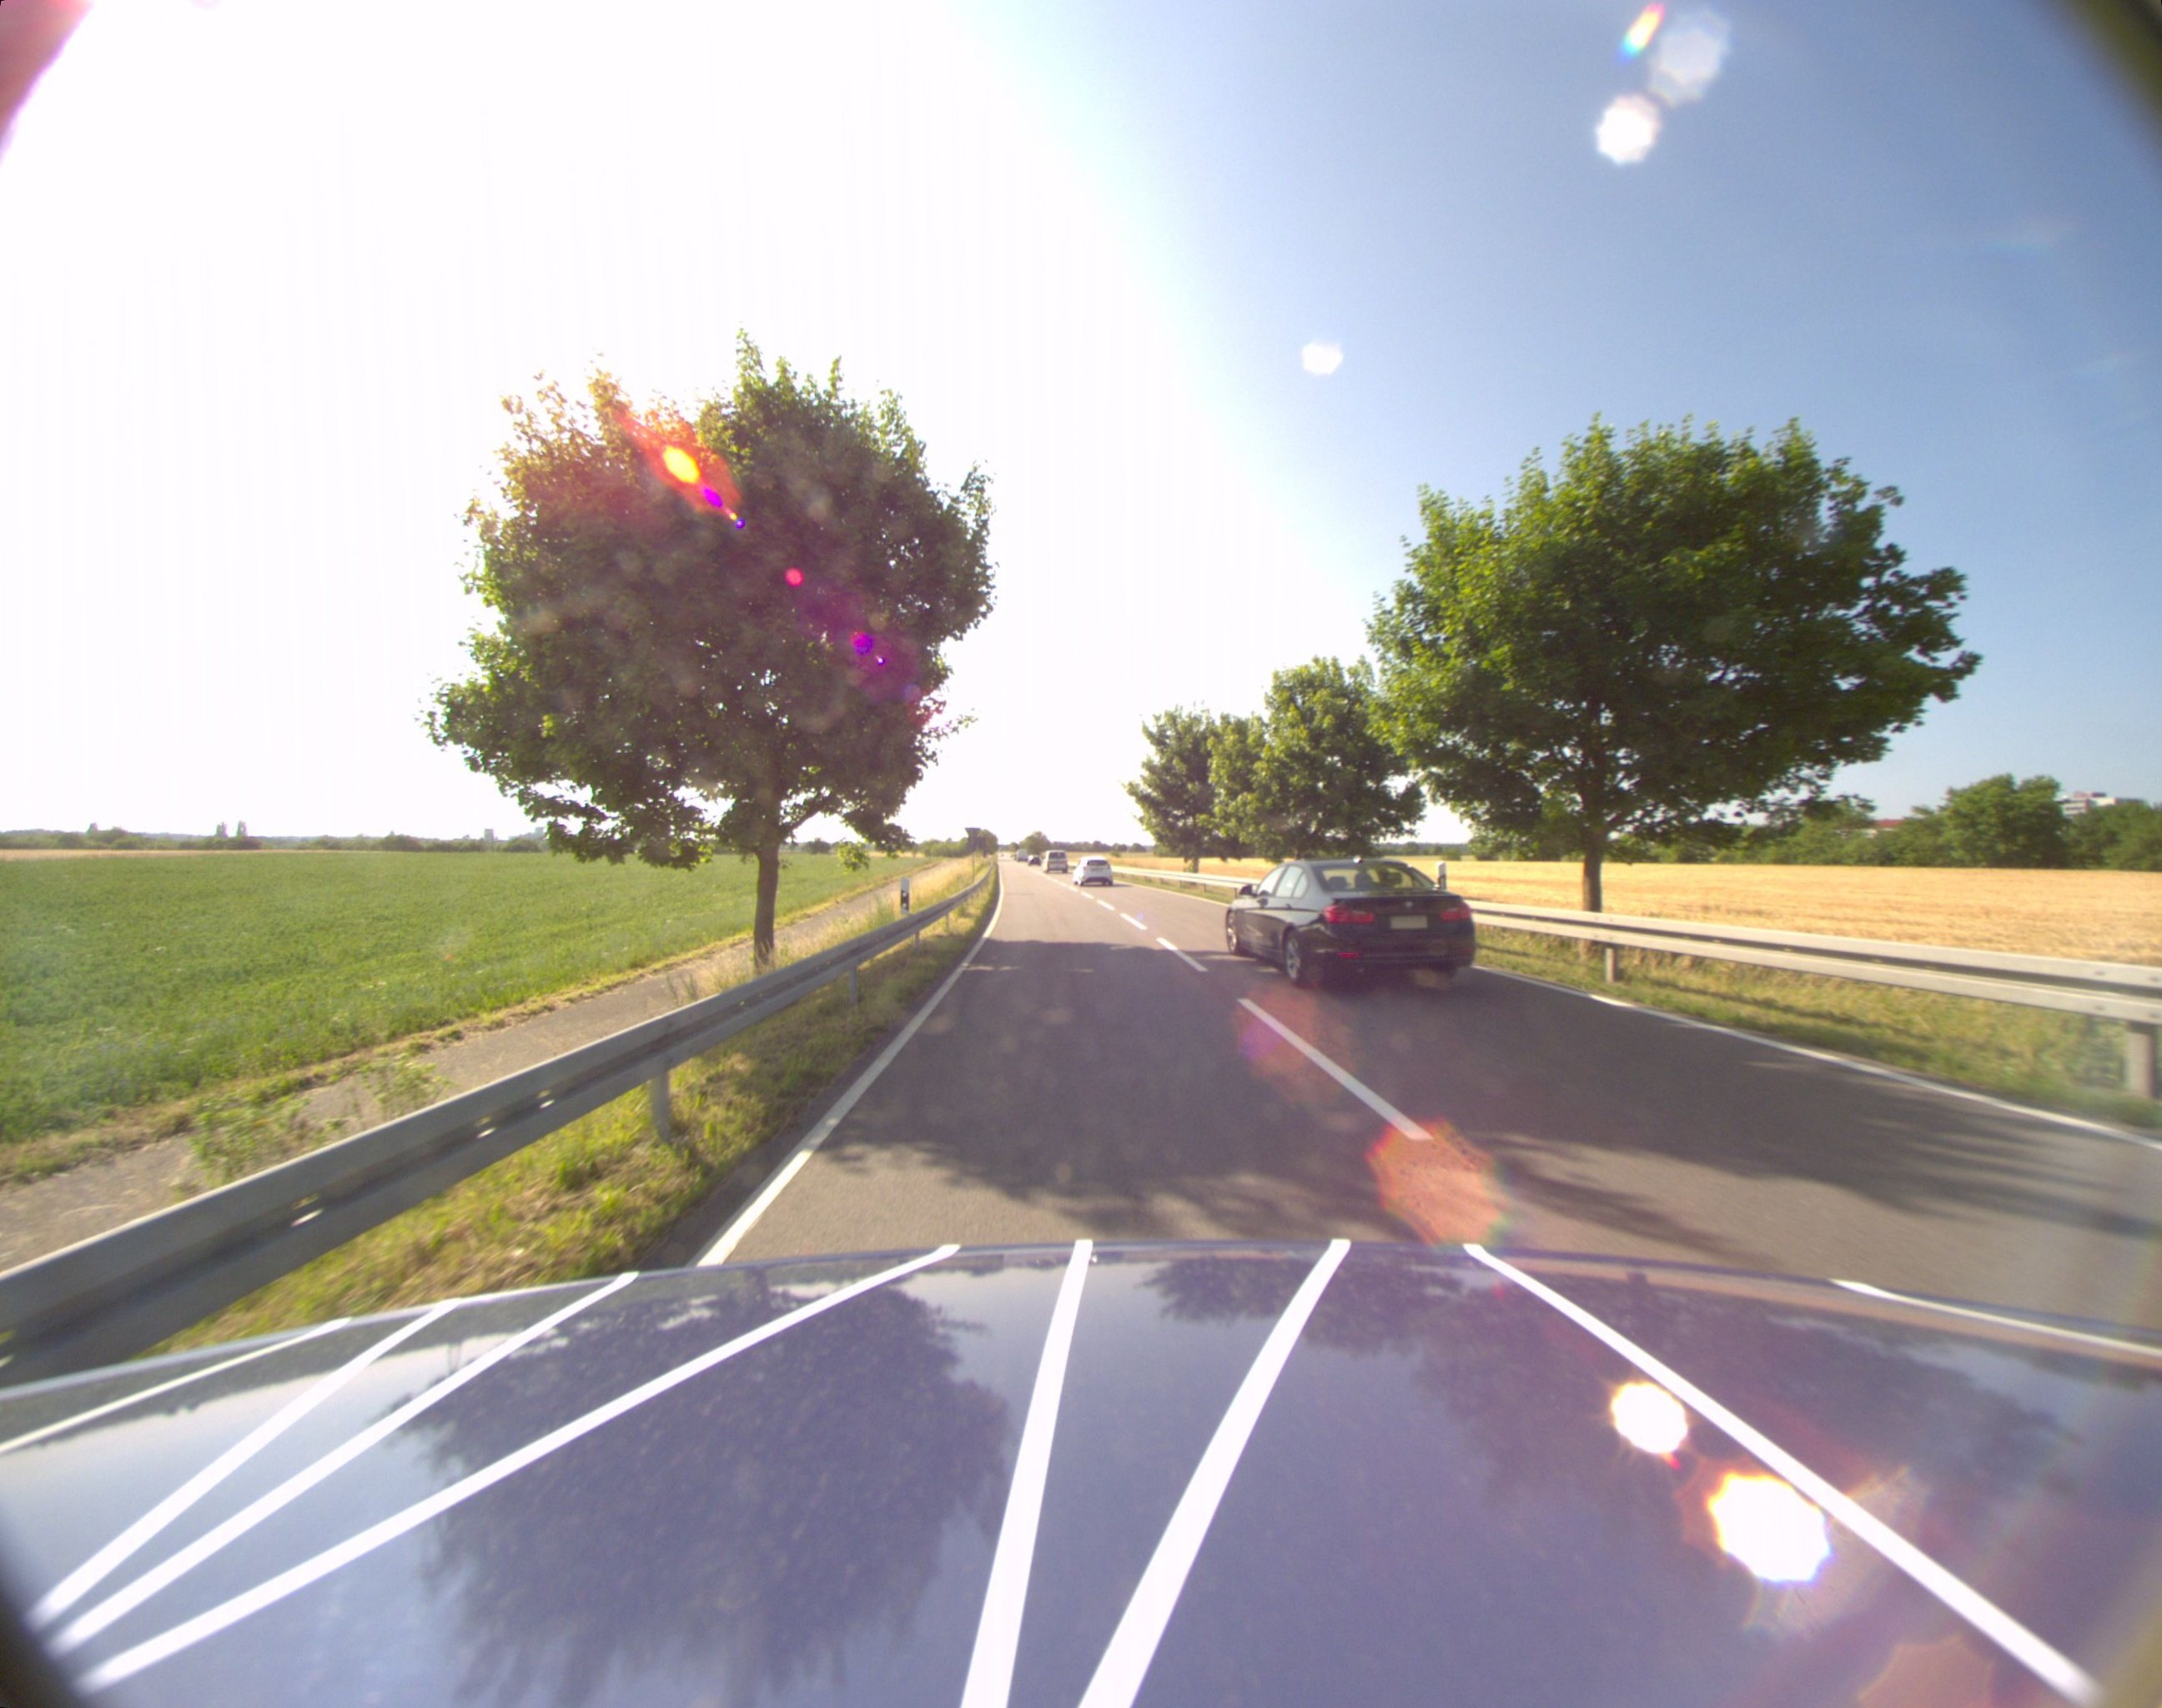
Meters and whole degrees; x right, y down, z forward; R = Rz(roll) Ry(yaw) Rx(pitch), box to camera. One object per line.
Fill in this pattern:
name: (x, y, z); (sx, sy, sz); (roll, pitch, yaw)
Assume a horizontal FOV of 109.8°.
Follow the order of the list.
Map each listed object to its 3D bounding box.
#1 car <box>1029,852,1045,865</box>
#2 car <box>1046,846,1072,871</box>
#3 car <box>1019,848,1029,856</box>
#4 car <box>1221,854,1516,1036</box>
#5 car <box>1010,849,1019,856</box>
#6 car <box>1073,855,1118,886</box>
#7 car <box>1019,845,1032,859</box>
car: (-6.149, 0.621, 106.012); (2.015, 1.576, 4.823); (0, 2, -6)
car: (-1.929, 0.332, 65.943); (1.918, 2.002, 4.780); (-2, 2, -5)
car: (-13.963, -0.567, 186.394); (2.406, 1.680, 5.369); (0, 3, -6)
car: (3.146, 0.866, 9.350); (1.842, 1.535, 4.242); (-2, 2, -3)
car: (-18.502, -0.411, 210.338); (2.406, 1.679, 5.370); (0, 2, -6)
car: (0.697, 0.798, 39.249); (1.757, 1.421, 3.843); (-2, 1, -6)
car: (-10.985, -0.358, 150.172); (2.406, 2.561, 5.370); (0, 2, -6)
